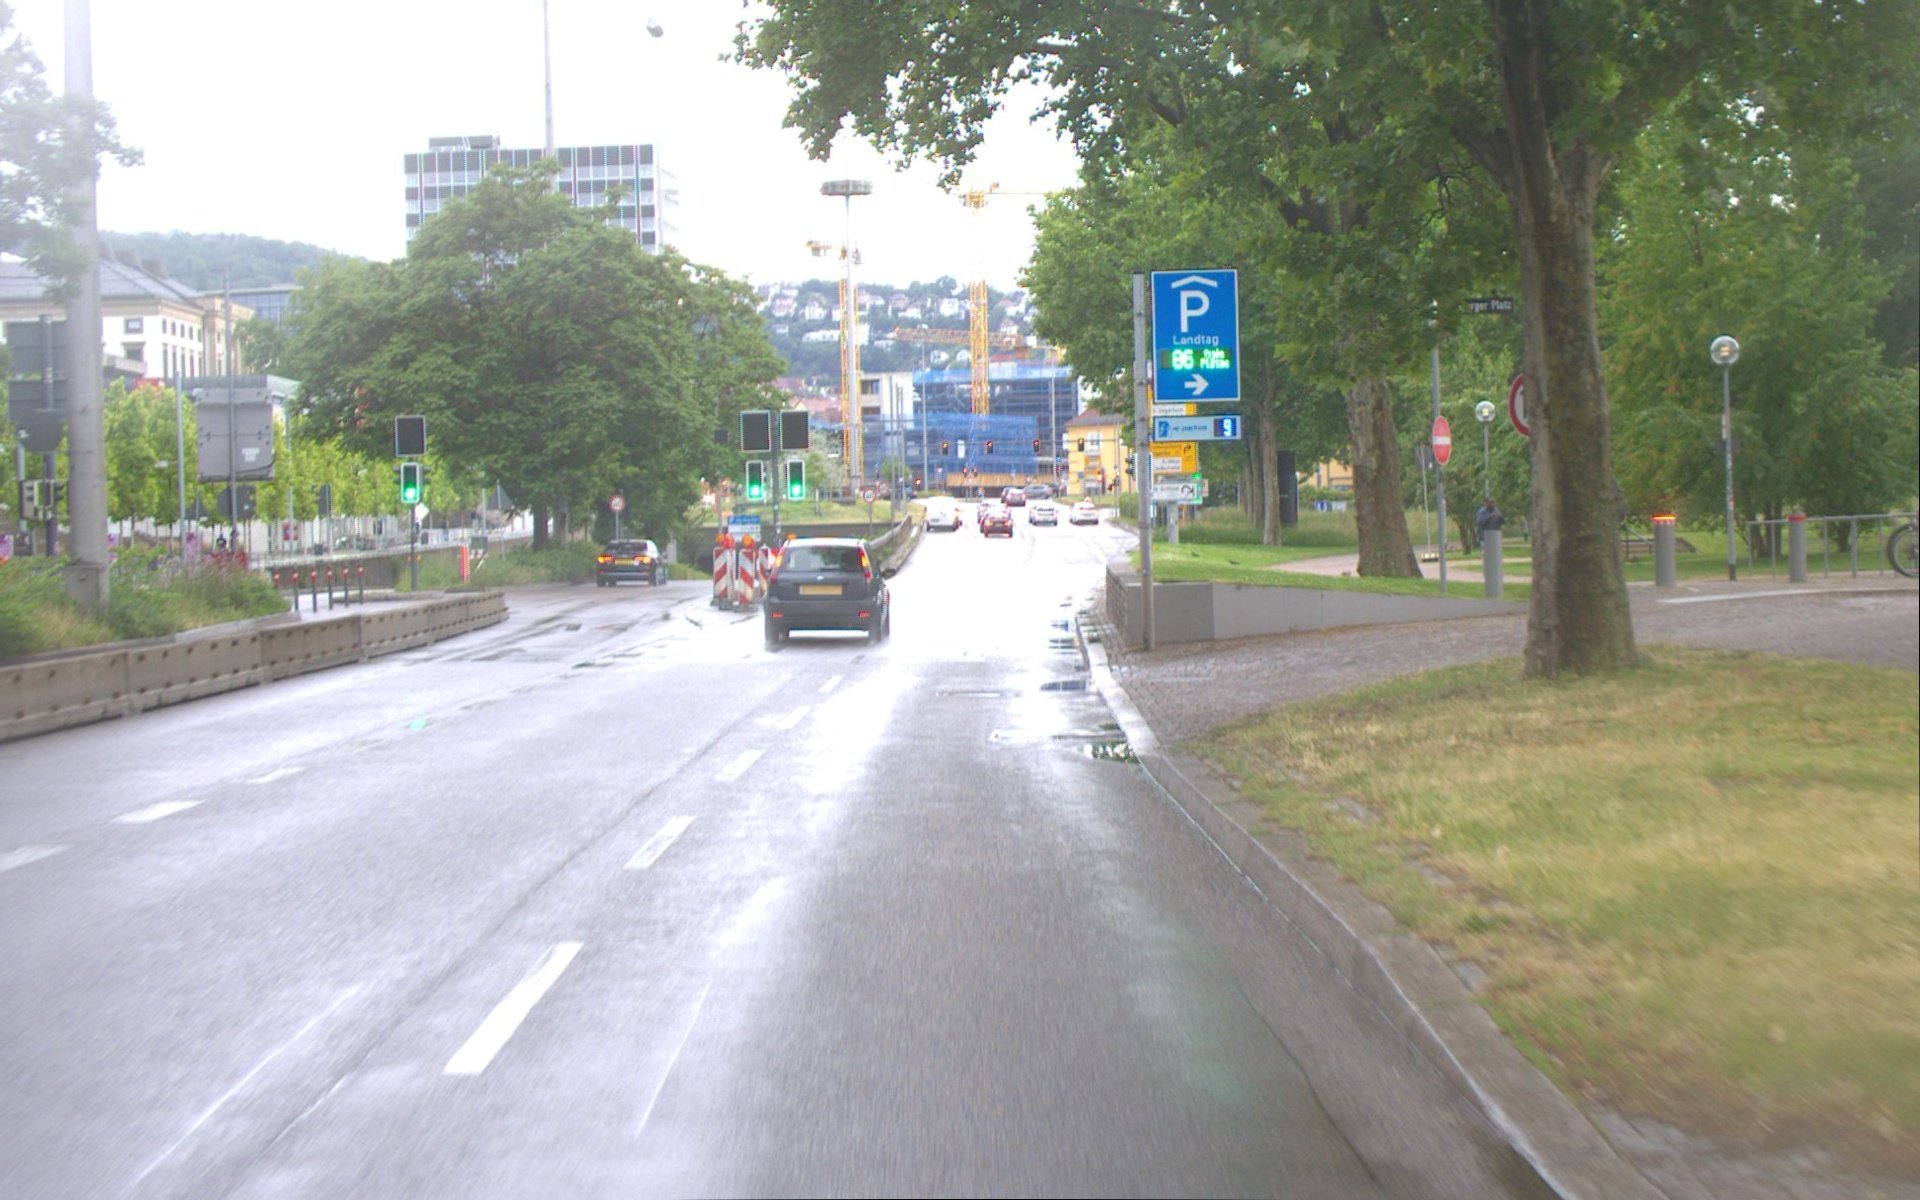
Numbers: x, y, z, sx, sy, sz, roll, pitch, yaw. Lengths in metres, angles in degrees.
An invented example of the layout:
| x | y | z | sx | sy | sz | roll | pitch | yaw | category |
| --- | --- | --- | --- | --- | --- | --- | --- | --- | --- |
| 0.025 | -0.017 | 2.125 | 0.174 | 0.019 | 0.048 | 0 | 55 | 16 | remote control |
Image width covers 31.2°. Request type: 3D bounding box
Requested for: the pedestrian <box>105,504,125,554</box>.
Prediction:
| x | y | z | sx | sy | sz | roll | pitch | yaw | category |
| --- | --- | --- | --- | --- | --- | --- | --- | --- | --- |
| -34.018 | -2.856 | 138.455 | 0.539 | 2.006 | 0.531 | -4 | 2 | -34 | pedestrian |

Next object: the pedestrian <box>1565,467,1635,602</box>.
| x | y | z | sx | sy | sz | roll | pitch | yaw | category |
| --- | --- | --- | --- | --- | --- | --- | --- | --- | --- |
| 8.366 | -0.857 | 44.951 | 0.705 | 1.712 | 0.692 | -3 | 2 | 1 | pedestrian |

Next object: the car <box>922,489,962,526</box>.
| x | y | z | sx | sy | sz | roll | pitch | yaw | category |
| --- | --- | --- | --- | --- | --- | --- | --- | --- | --- |
| -1.217 | -6.325 | 234.395 | 2.220 | 2.006 | 4.001 | 3 | 7 | 6 | car |

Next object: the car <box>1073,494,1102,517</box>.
| x | y | z | sx | sy | sz | roll | pitch | yaw | category |
| --- | --- | --- | --- | --- | --- | --- | --- | --- | --- |
| 9.417 | -6.960 | 253.470 | 1.994 | 1.594 | 4.000 | -3 | 1 | 3 | car |

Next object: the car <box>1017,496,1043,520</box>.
| x | y | z | sx | sy | sz | roll | pitch | yaw | category |
| --- | --- | --- | --- | --- | --- | --- | --- | --- | --- |
| 5.207 | -6.886 | 256.750 | 1.713 | 1.684 | 3.849 | -3 | 1 | 3 | car |

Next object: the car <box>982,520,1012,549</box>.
| x | y | z | sx | sy | sz | roll | pitch | yaw | category |
| --- | --- | --- | --- | --- | --- | --- | --- | --- | --- |
| 2.346 | -4.181 | 218.525 | 1.739 | 1.765 | 4.000 | -3 | 1 | 2 | car |

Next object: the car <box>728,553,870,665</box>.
| x | y | z | sx | sy | sz | roll | pitch | yaw | category |
| --- | --- | --- | --- | --- | --- | --- | --- | --- | --- |
| -2.290 | 0.101 | 48.696 | 1.844 | 1.411 | 3.840 | -3 | 1 | -3 | car |

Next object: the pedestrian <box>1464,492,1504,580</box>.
| x | y | z | sx | sy | sz | roll | pitch | yaw | category |
| --- | --- | --- | --- | --- | --- | --- | --- | --- | --- |
| 10.754 | -1.324 | 70.540 | 0.594 | 1.749 | 0.725 | -3 | 2 | -2 | pedestrian |

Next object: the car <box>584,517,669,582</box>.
| x | y | z | sx | sy | sz | roll | pitch | yaw | category |
| --- | --- | --- | --- | --- | --- | --- | --- | --- | --- |
| -10.003 | -1.542 | 103.409 | 1.993 | 1.774 | 4.000 | -2 | 2 | 1 | car |

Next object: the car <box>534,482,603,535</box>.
| x | y | z | sx | sy | sz | roll | pitch | yaw | category |
| --- | --- | --- | --- | --- | --- | --- | --- | --- | --- |
| -12.505 | -2.937 | 110.085 | 1.993 | 1.626 | 4.001 | -2 | 2 | -4 | car |

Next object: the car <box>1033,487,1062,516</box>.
| x | y | z | sx | sy | sz | roll | pitch | yaw | category |
| --- | --- | --- | --- | --- | --- | --- | --- | --- | --- |
| 6.363 | -7.146 | 250.569 | 1.987 | 2.007 | 4.000 | -1 | 1 | 1 | car |

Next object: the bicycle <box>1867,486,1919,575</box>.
| x | y | z | sx | sy | sz | roll | pitch | yaw | category |
| --- | --- | --- | --- | --- | --- | --- | --- | --- | --- |
| 13.534 | -0.975 | 46.830 | 2.034 | 1.169 | 0.960 | -2 | 3 | -10 | bicycle |
